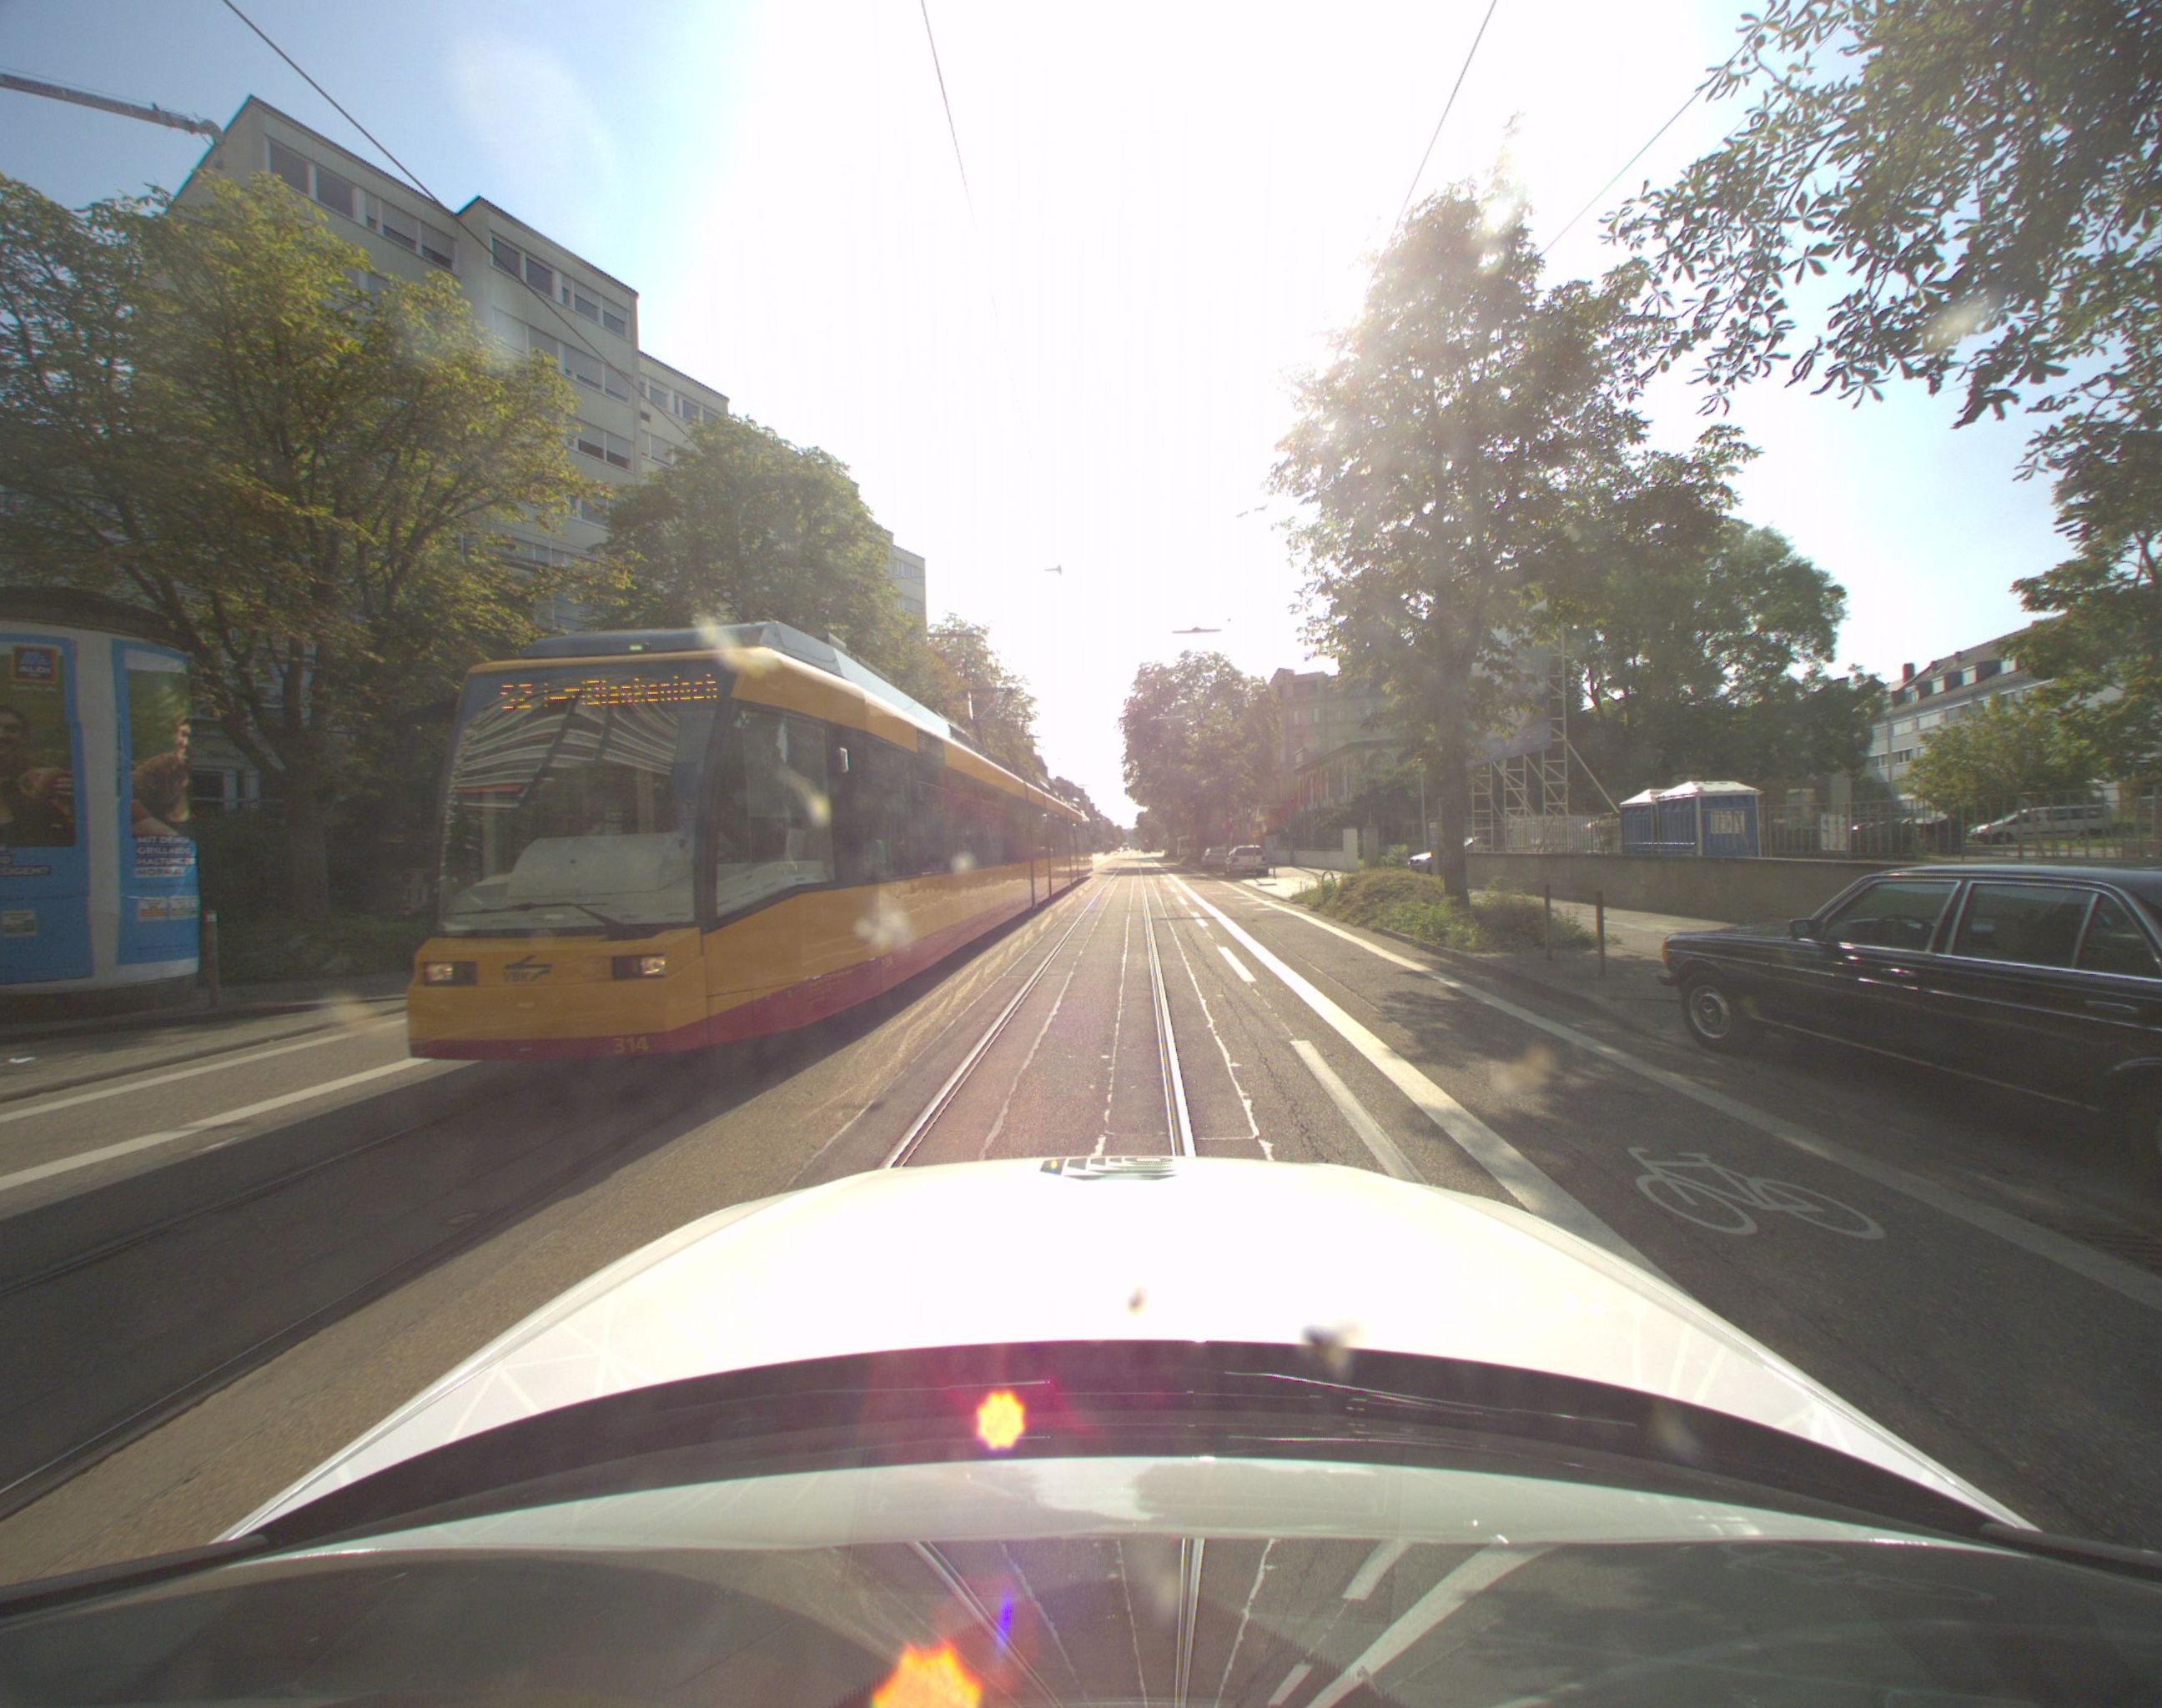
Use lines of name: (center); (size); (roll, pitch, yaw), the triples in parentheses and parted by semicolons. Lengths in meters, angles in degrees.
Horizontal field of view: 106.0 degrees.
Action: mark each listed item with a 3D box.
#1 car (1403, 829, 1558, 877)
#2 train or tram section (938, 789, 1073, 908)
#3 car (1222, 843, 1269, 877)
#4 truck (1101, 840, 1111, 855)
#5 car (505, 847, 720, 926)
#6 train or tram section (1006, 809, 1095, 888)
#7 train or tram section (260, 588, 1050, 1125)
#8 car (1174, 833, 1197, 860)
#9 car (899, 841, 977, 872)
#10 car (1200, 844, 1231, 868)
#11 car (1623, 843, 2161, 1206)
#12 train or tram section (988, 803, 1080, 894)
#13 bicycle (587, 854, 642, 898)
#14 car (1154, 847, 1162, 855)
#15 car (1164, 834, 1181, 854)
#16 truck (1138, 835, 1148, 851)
car: (13.487, -0.058, 27.740); (4.391, 1.409, 1.812); (-2, 1, 12)
train or tram section: (-1.904, -0.160, 23.272); (2.717, 2.849, 6.550); (-2, 0, 4)
car: (7.537, 0.238, 37.641); (1.682, 1.418, 3.639); (-2, 1, 5)
truck: (5.169, -1.310, 168.654); (1.985, 2.975, 4.575); (-2, 0, 3)
car: (-10.122, 0.633, 17.712); (3.815, 1.442, 1.674); (-2, 1, -39)
train or tram section: (-1.032, -0.257, 35.508); (2.668, 2.861, 10.556); (-2, 0, 4)
train or tram section: (-2.687, -0.042, 12.236); (2.717, 2.894, 15.472); (-2, 0, 4)
car: (10.181, -0.731, 79.498); (1.995, 2.490, 4.483); (-1, 0, 5)
car: (-7.375, 0.119, 42.202); (1.551, 1.443, 3.786); (-1, 1, 44)
car: (8.470, 0.103, 51.390); (1.587, 1.418, 3.639); (-2, 1, 5)
car: (5.328, 0.679, 4.489); (1.746, 1.377, 4.724); (-3, 0, 4)
train or tram section: (-1.542, -0.193, 28.392); (2.694, 2.856, 3.653); (-2, 0, 4)
bicycle: (-15.410, 0.714, 26.878); (2.401, 1.380, 0.590); (-1, 0, 35)
car: (18.728, -0.792, 198.792); (1.984, 1.837, 4.006); (-2, 1, 5)
car: (11.954, -1.353, 106.462); (1.995, 2.475, 4.483); (-2, 1, 5)
truck: (12.808, -2.232, 168.184); (1.853, 3.130, 4.355); (-2, 1, 2)
